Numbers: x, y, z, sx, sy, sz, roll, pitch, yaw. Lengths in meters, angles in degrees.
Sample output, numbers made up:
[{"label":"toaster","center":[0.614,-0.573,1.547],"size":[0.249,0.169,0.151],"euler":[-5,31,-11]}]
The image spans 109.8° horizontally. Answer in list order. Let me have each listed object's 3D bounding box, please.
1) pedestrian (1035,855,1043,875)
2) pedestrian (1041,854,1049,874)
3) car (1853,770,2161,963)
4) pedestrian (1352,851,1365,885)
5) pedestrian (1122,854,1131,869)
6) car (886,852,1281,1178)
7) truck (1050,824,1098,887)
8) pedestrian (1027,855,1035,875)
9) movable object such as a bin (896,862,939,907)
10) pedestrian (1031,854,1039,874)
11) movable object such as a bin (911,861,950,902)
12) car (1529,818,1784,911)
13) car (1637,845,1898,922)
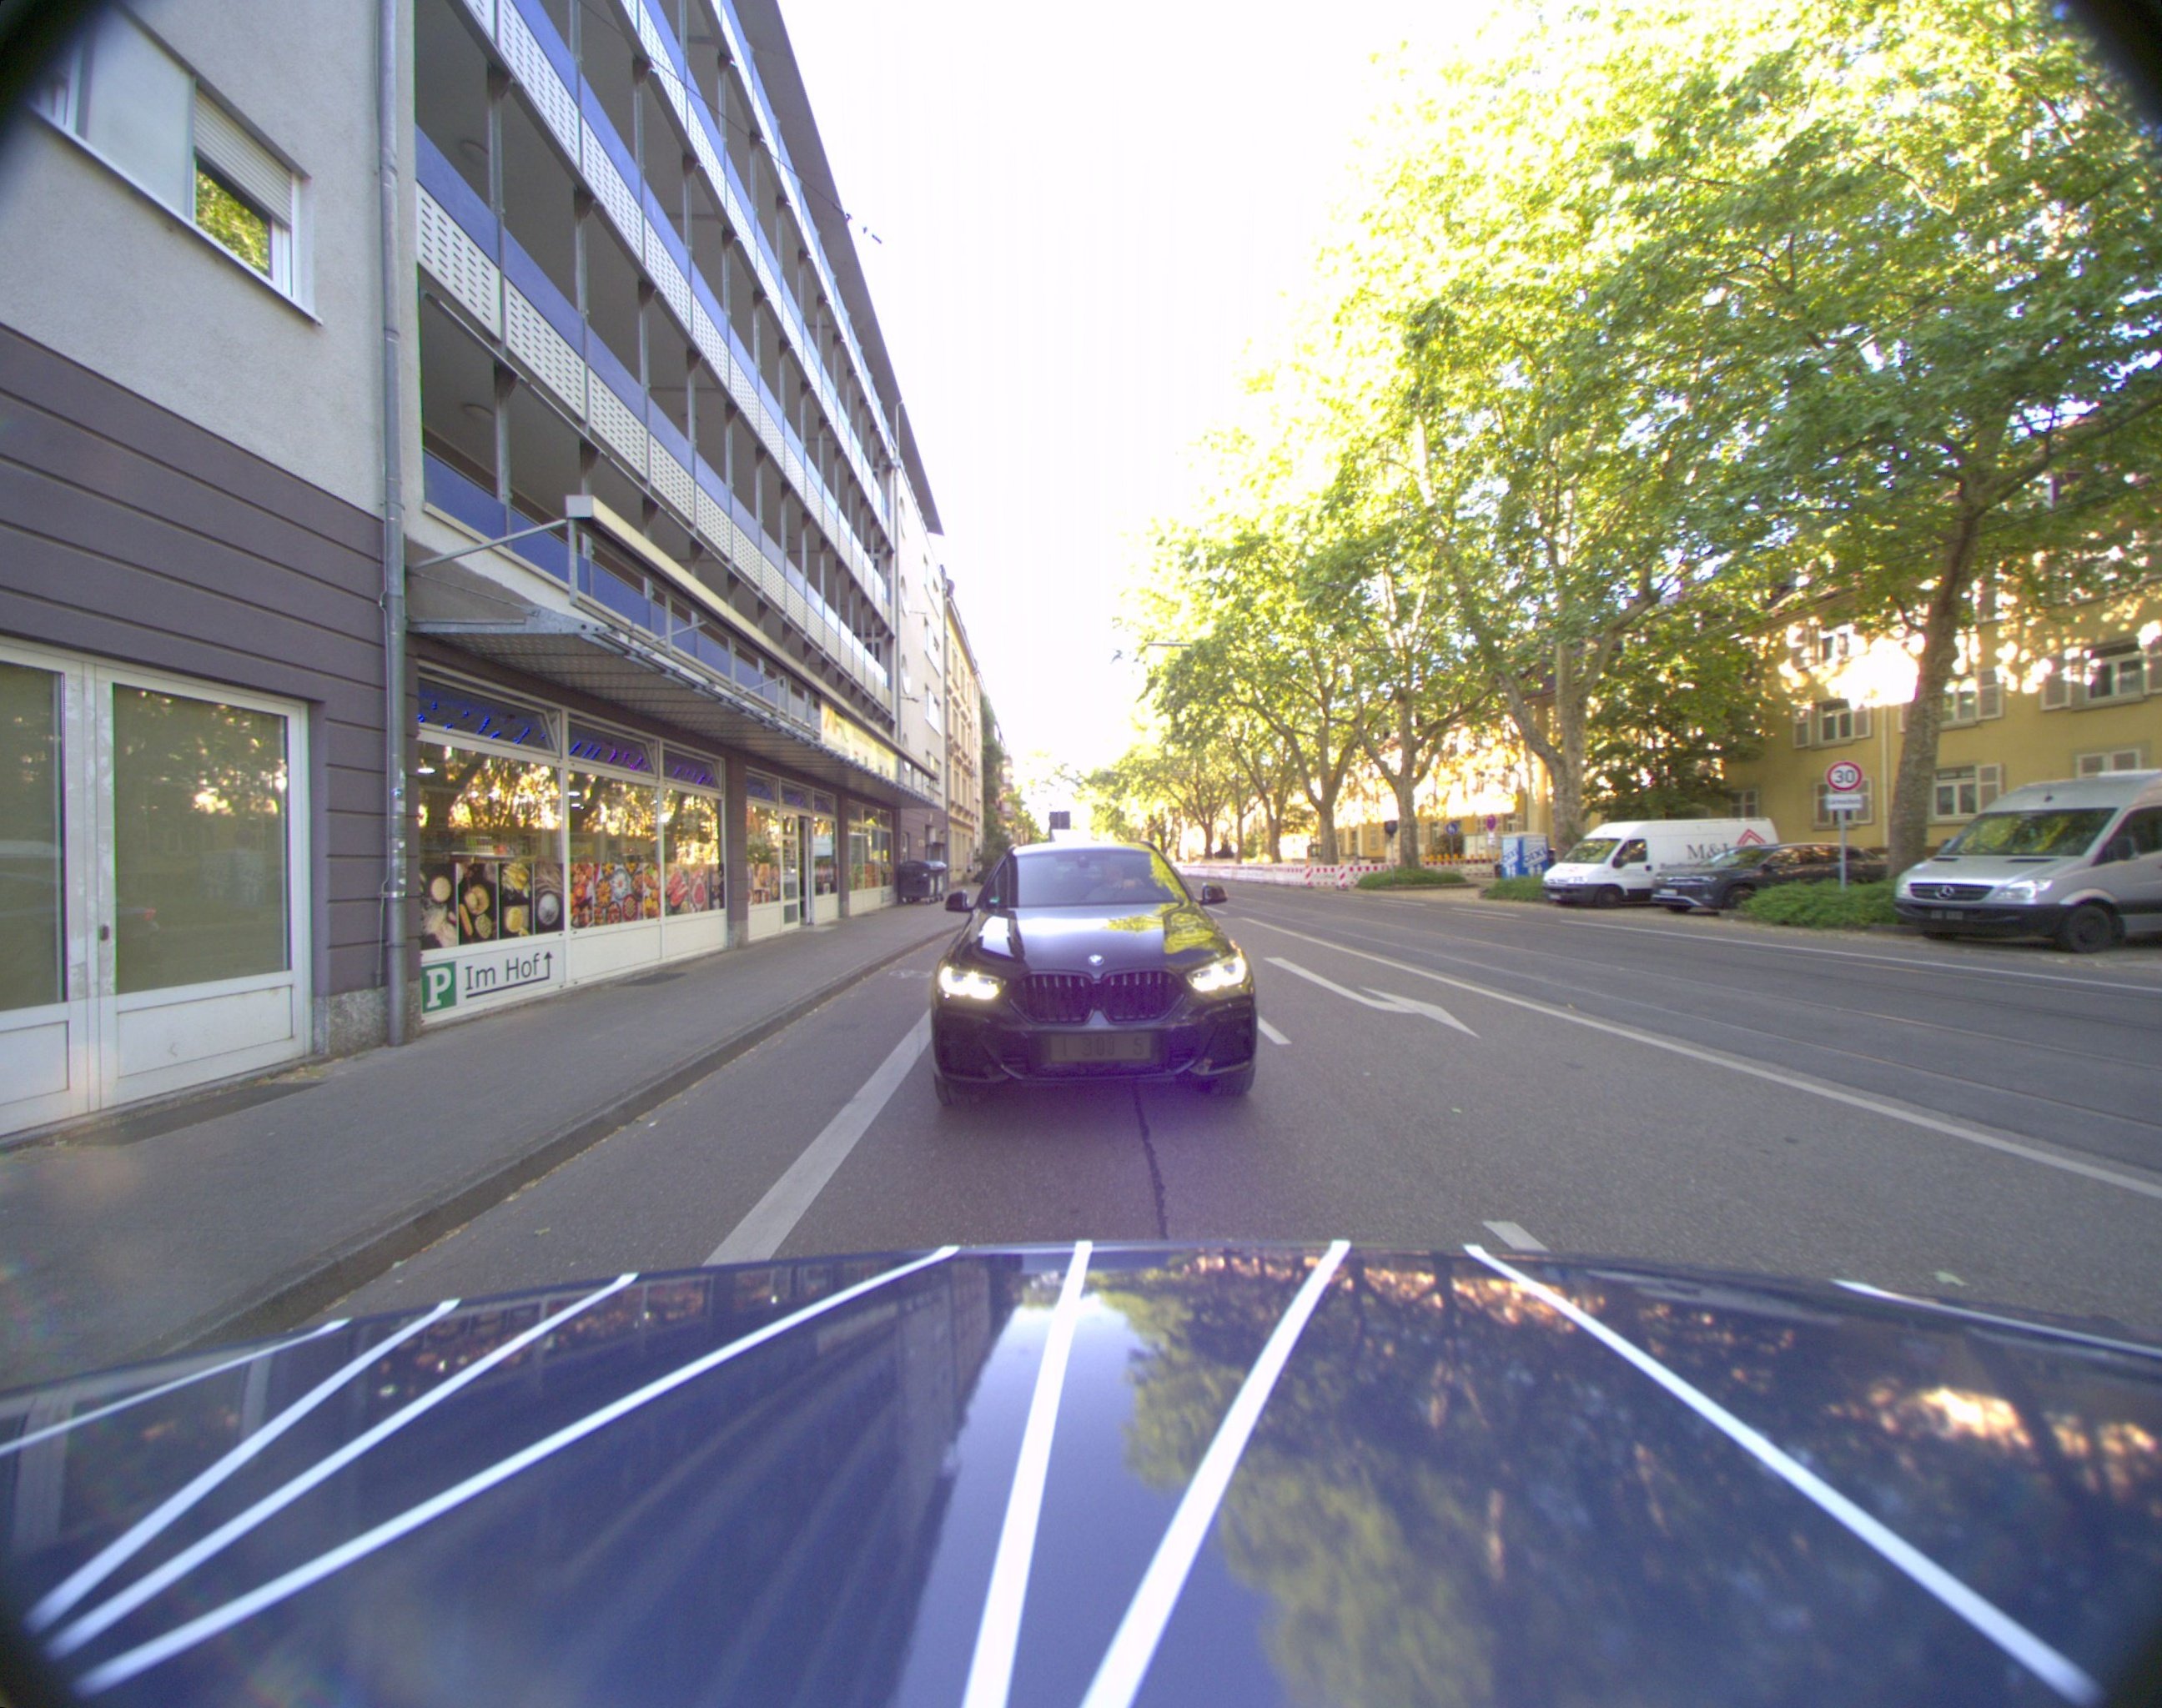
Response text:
[{"label":"pedestrian","center":[-3.984,1.025,71.965],"size":[0.600,1.875,0.581],"euler":[-2,1,-1]},{"label":"pedestrian","center":[-3.498,0.979,73.880],"size":[0.733,1.875,0.664],"euler":[-2,1,-1]},{"label":"car","center":[15.982,0.130,11.861],"size":[5.666,2.666,2.223],"euler":[-2,0,-2]},{"label":"pedestrian","center":[14.592,0.726,39.935],"size":[0.582,1.735,0.653],"euler":[-2,1,18]},{"label":"pedestrian","center":[5.879,0.944,97.882],"size":[0.731,1.875,0.743],"euler":[-1,2,41]},{"label":"car","center":[0.040,0.835,6.045],"size":[1.998,1.643,4.295],"euler":[-1,0,1]},{"label":"truck","center":[-0.317,0.123,42.057],"size":[2.394,3.170,6.587],"euler":[-1,0,1]},{"label":"pedestrian","center":[-4.748,1.053,72.090],"size":[0.600,1.875,0.581],"euler":[-2,1,-1]},{"label":"movable object such as a bin","center":[-5.298,0.978,24.651],"size":[1.158,1.418,0.939],"euler":[-1,0,1]},{"label":"pedestrian","center":[-4.457,0.993,73.937],"size":[0.733,1.875,0.664],"euler":[-2,1,-1]},{"label":"movable object such as a bin","center":[-5.285,0.955,26.689],"size":[1.158,1.418,0.939],"euler":[-1,0,1]},{"label":"car","center":[15.843,0.292,21.150],"size":[5.404,2.362,2.223],"euler":[-1,0,0]},{"label":"car","center":[16.076,0.659,17.943],"size":[4.627,1.642,1.774],"euler":[-1,0,-2]}]
